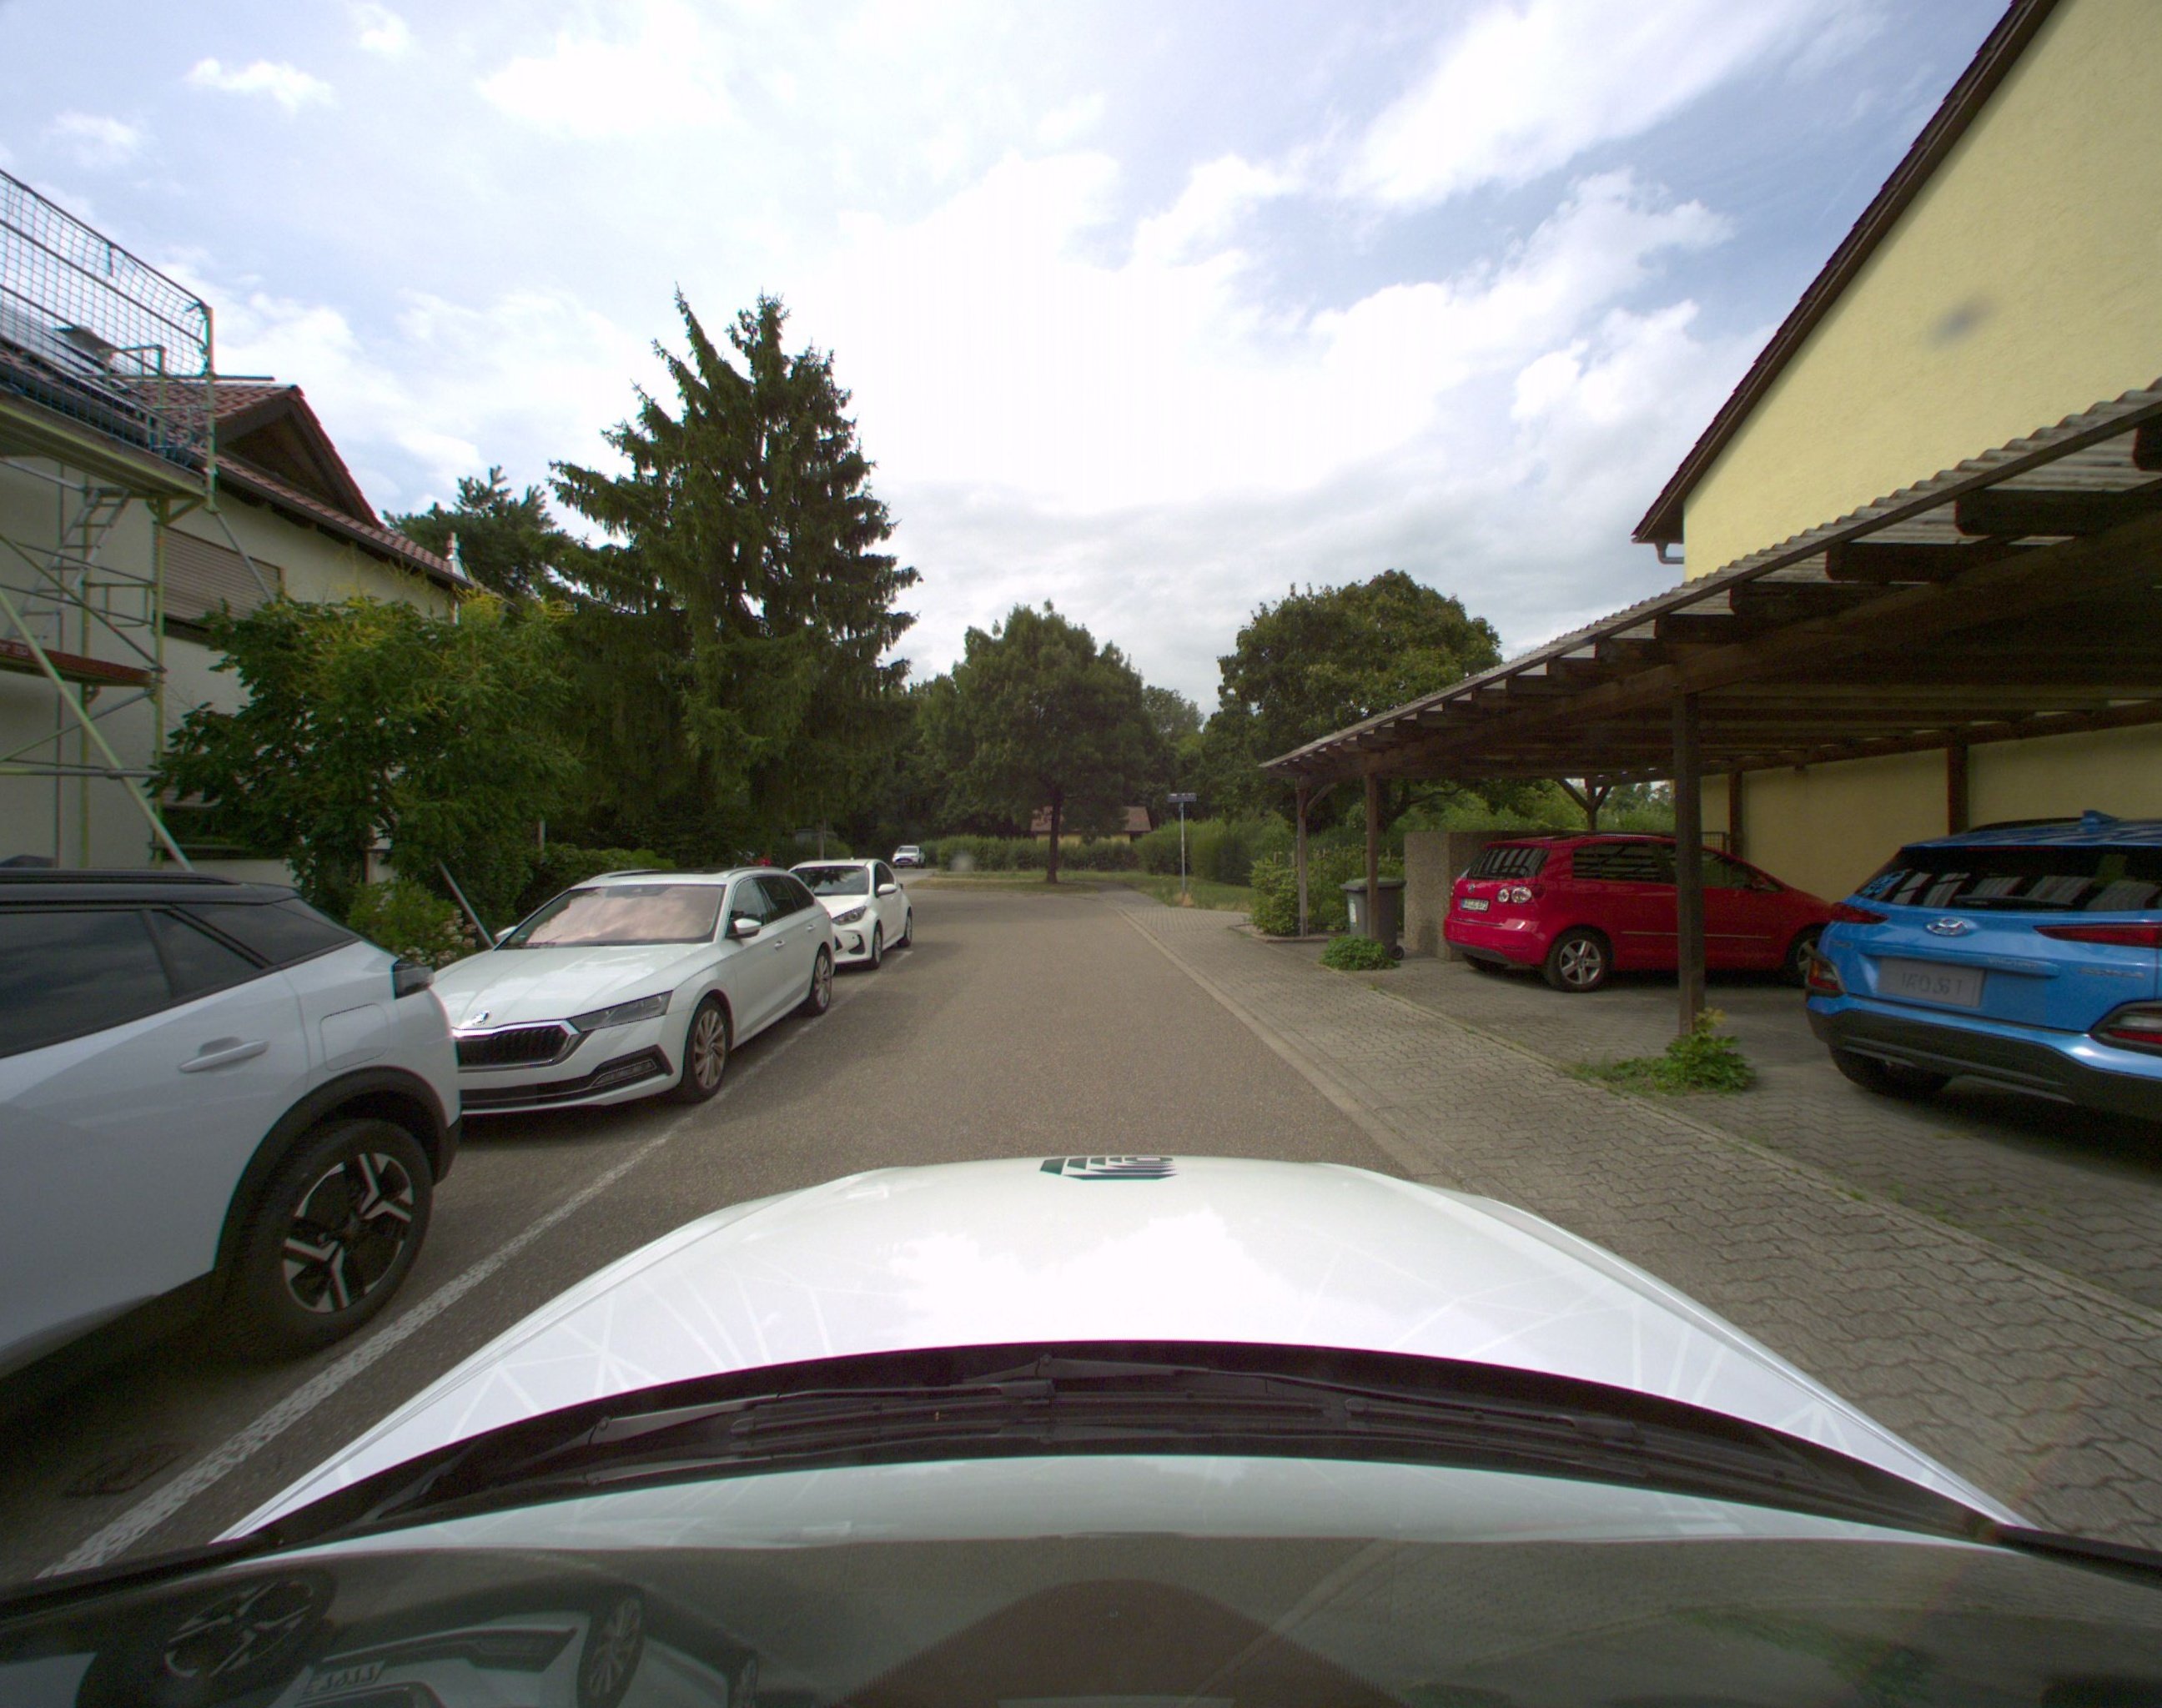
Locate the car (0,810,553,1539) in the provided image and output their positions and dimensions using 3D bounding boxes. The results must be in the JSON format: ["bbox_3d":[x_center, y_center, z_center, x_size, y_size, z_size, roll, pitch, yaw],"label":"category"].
[{"bbox_3d":[-3.272,0.702,1.282,1.929,1.556,4.631,-1,0,-2],"label":"car"}]

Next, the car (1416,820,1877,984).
[{"bbox_3d":[6.067,0.458,9.026,3.951,1.540,1.836,-1,0,-5],"label":"car"}]

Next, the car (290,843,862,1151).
[{"bbox_3d":[-3.274,0.728,6.683,1.806,1.562,4.843,-1,0,-2],"label":"car"}]

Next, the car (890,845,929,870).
[{"bbox_3d":[-12.075,0.217,57.539,1.932,1.660,4.337,0,0,-2],"label":"car"}]

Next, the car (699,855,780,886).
[{"bbox_3d":[-15.715,0.721,37.725,1.989,1.290,4.688,0,0,-3],"label":"car"}]

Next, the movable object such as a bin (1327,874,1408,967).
[{"bbox_3d":[3.547,0.804,10.124,0.698,1.072,0.710,-2,0,-6],"label":"movable object such as a bin"}]

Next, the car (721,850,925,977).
[{"bbox_3d":[-3.582,0.726,12.129,1.787,1.531,4.137,-1,0,-2],"label":"car"}]

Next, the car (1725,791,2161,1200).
[{"bbox_3d":[5.948,0.489,4.097,4.040,1.522,1.947,-1,0,-5],"label":"car"}]
